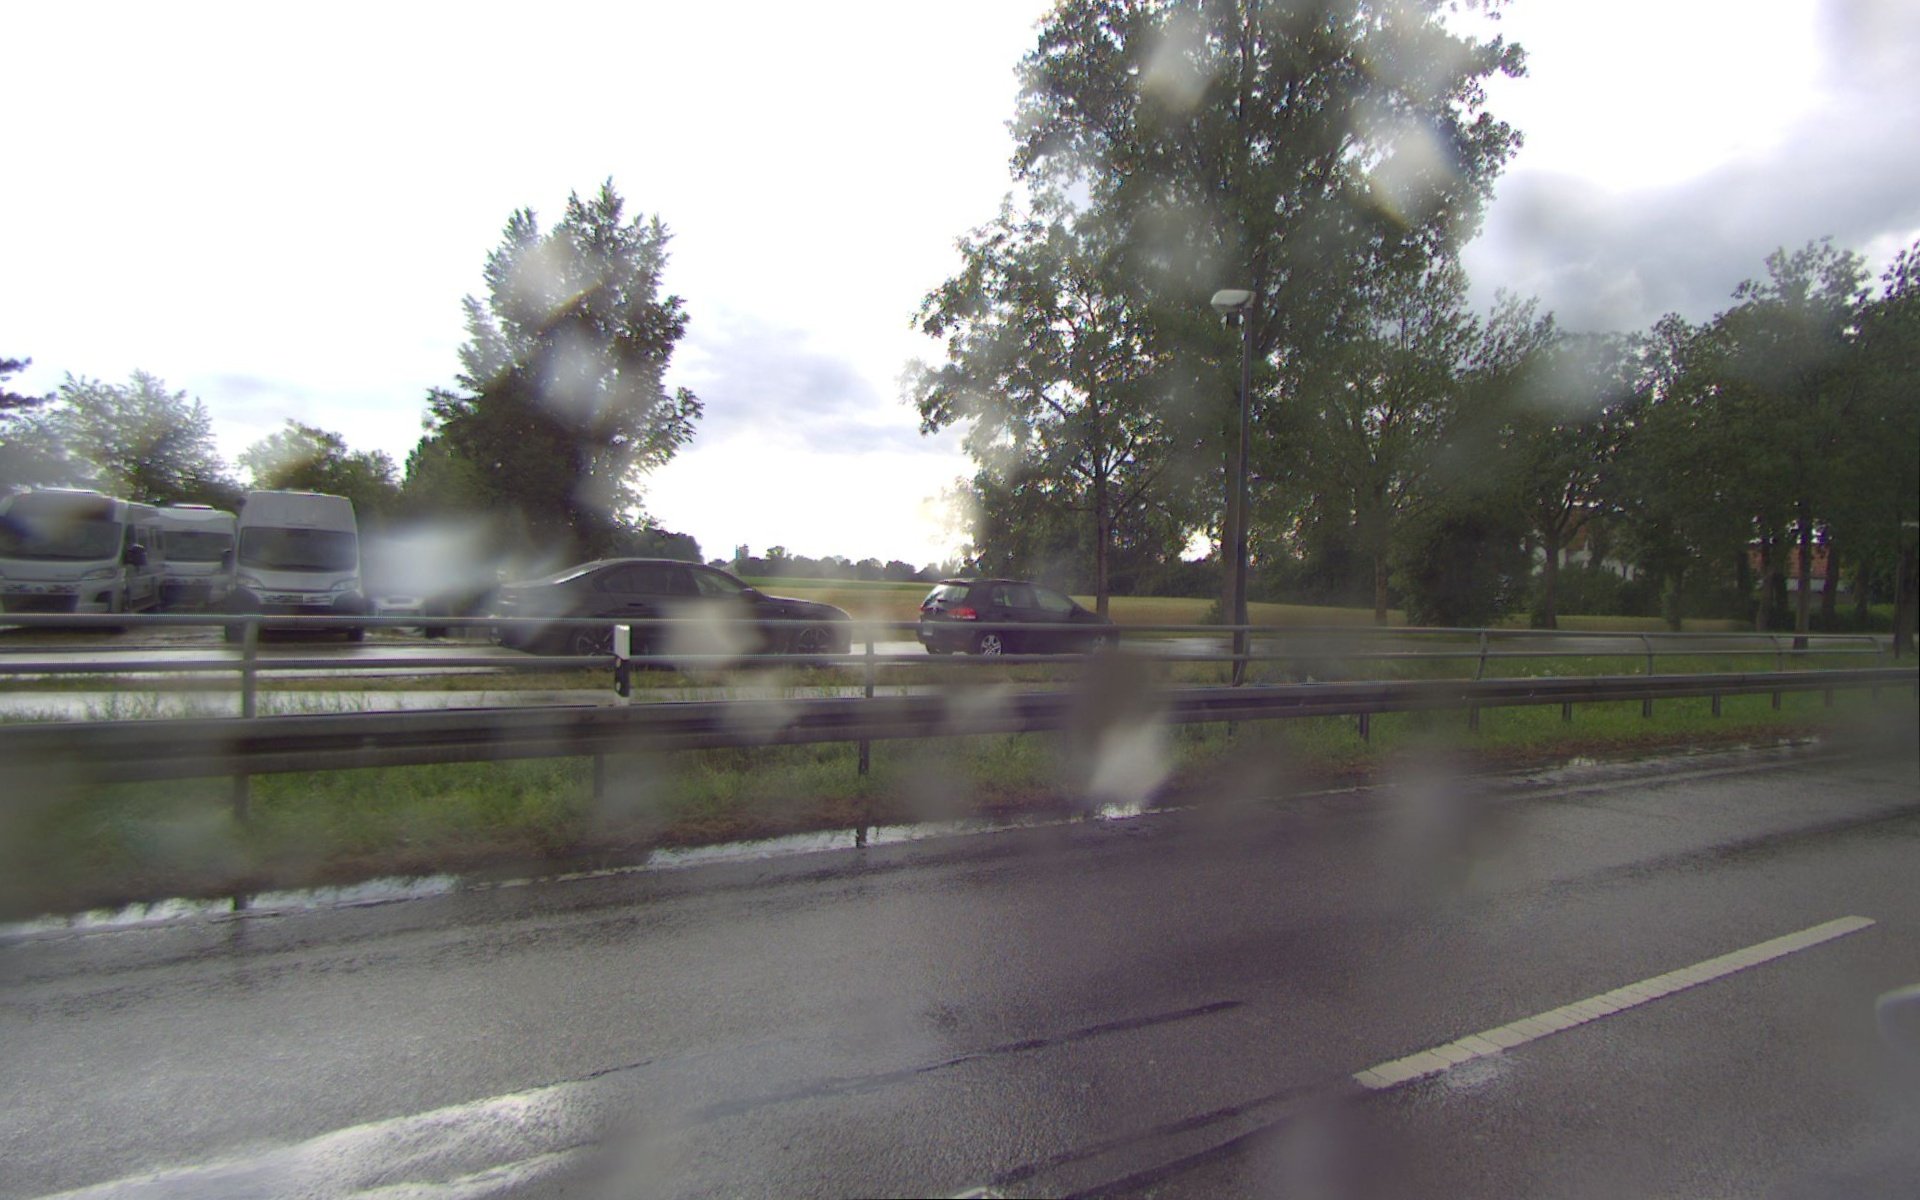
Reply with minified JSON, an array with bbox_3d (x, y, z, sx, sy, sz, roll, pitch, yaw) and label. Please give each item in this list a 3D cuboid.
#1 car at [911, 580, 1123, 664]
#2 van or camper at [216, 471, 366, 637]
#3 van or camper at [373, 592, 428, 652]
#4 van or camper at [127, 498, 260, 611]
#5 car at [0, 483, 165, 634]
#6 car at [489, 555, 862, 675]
[{"bbox_3d":[1.097,0.386,18.331,3.858,1.349,1.274,1,3,-35],"label":"car"},{"bbox_3d":[-12.736,-0.843,19.469,2.057,2.713,5.844,1,2,-31],"label":"van or camper"},{"bbox_3d":[-28.839,1.053,51.671,2.296,2.713,5.844,1,2,-31],"label":"van or camper"},{"bbox_3d":[-20.039,-1.172,26.516,1.976,2.625,5.777,1,2,-29],"label":"van or camper"},{"bbox_3d":[-16.634,-0.769,18.943,1.978,2.492,5.063,1,2,-32],"label":"car"},{"bbox_3d":[-4.045,0.204,14.795,5.070,1.511,1.505,1,2,-35],"label":"car"}]
